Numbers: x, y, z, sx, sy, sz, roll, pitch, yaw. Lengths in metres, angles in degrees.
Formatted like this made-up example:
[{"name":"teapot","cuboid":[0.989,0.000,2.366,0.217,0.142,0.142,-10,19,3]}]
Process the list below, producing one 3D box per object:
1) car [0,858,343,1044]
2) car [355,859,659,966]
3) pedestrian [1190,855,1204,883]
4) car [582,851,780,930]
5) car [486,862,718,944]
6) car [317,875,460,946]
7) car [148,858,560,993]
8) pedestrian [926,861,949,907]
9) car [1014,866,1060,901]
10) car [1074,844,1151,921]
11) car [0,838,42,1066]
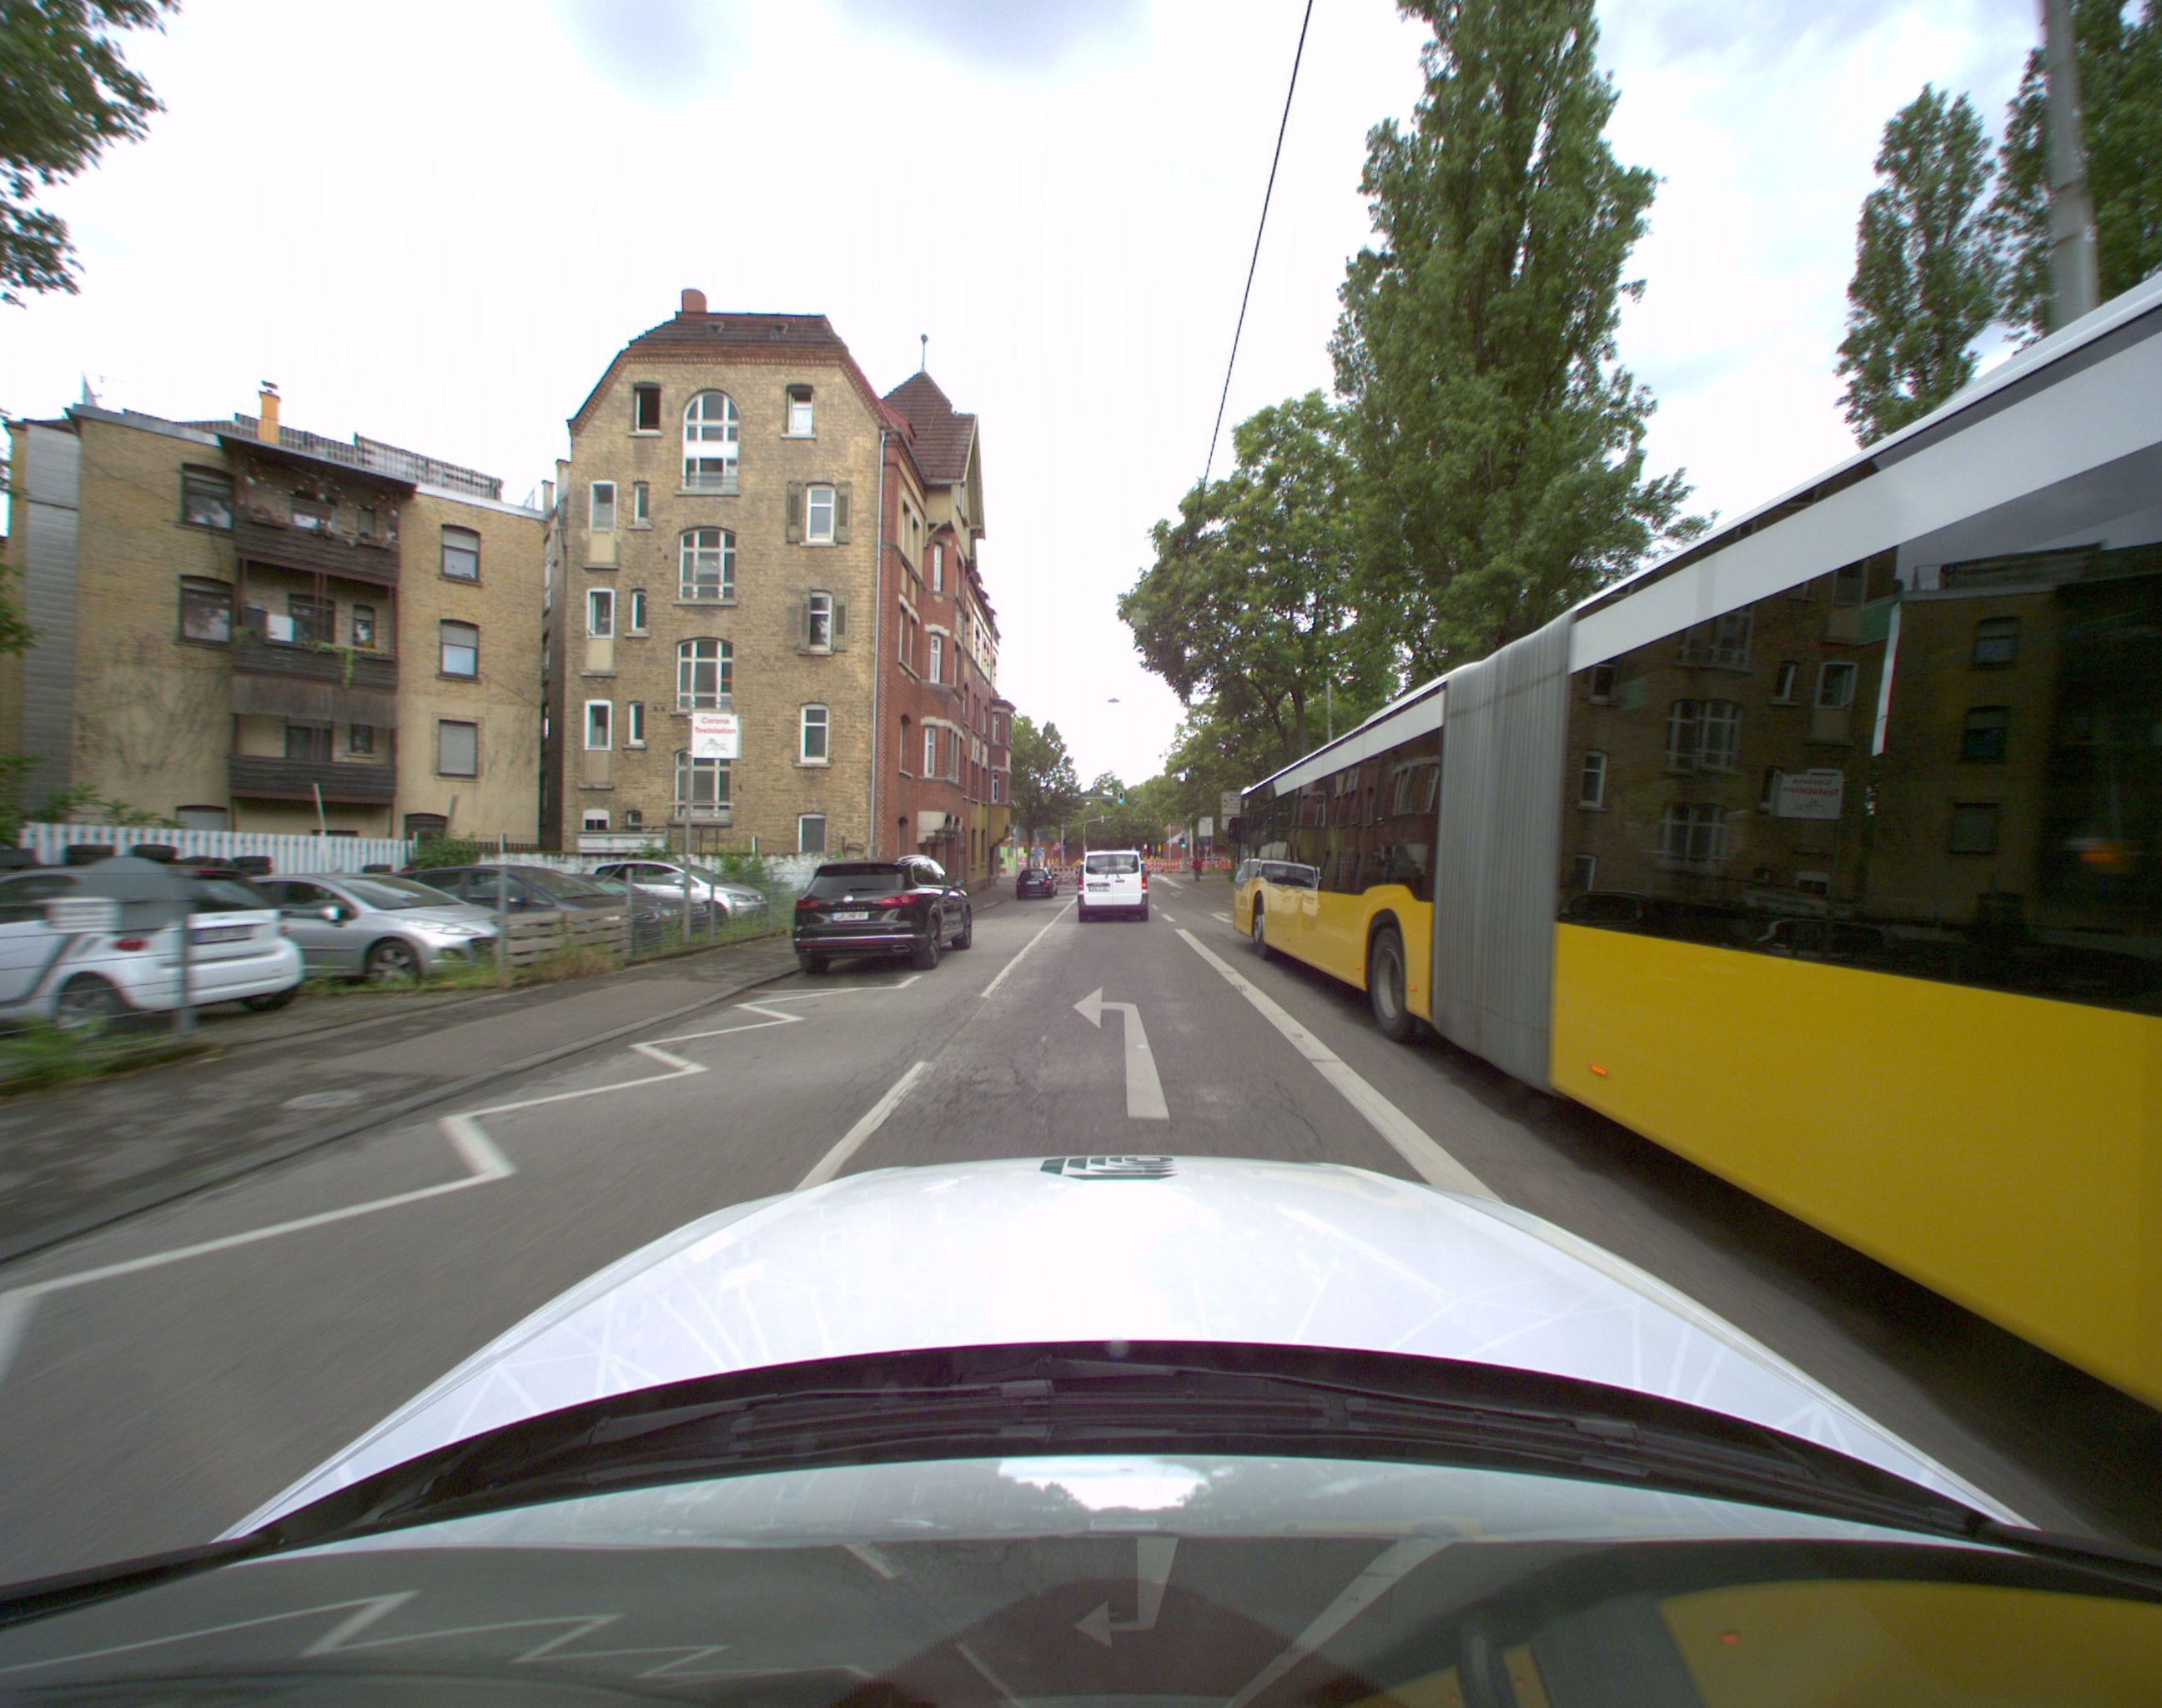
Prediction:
[{"name":"car","cuboid":[-9.489,0.874,7.962,2.836,1.565,1.854,-2,-1,2]},{"name":"car","cuboid":[-9.137,0.891,13.182,3.582,1.504,1.854,-2,-1,2]},{"name":"pedestrian","cuboid":[7.806,0.998,54.635,0.776,1.831,0.728,-3,0,2]},{"name":"car","cuboid":[-8.927,0.797,18.354,3.582,1.612,1.689,-2,-1,2]},{"name":"car","cuboid":[-9.247,0.927,15.889,3.582,1.415,1.547,-2,-1,2]},{"name":"car","cuboid":[-15.952,1.229,18.970,1.679,1.373,3.481,-1,0,-26]},{"name":"car","cuboid":[-9.240,0.866,10.598,3.708,1.504,1.854,-2,-1,2]},{"name":"pedestrian","cuboid":[-5.211,1.087,29.561,0.657,1.609,0.633,2,0,2]},{"name":"car","cuboid":[-2.089,1.388,39.698,1.717,1.485,4.394,0,1,3]},{"name":"car","cuboid":[0.854,0.826,23.177,1.910,1.902,4.701,2,-3,1]},{"name":"car","cuboid":[-9.710,0.754,5.234,3.748,1.643,1.854,-2,-1,2]}]
